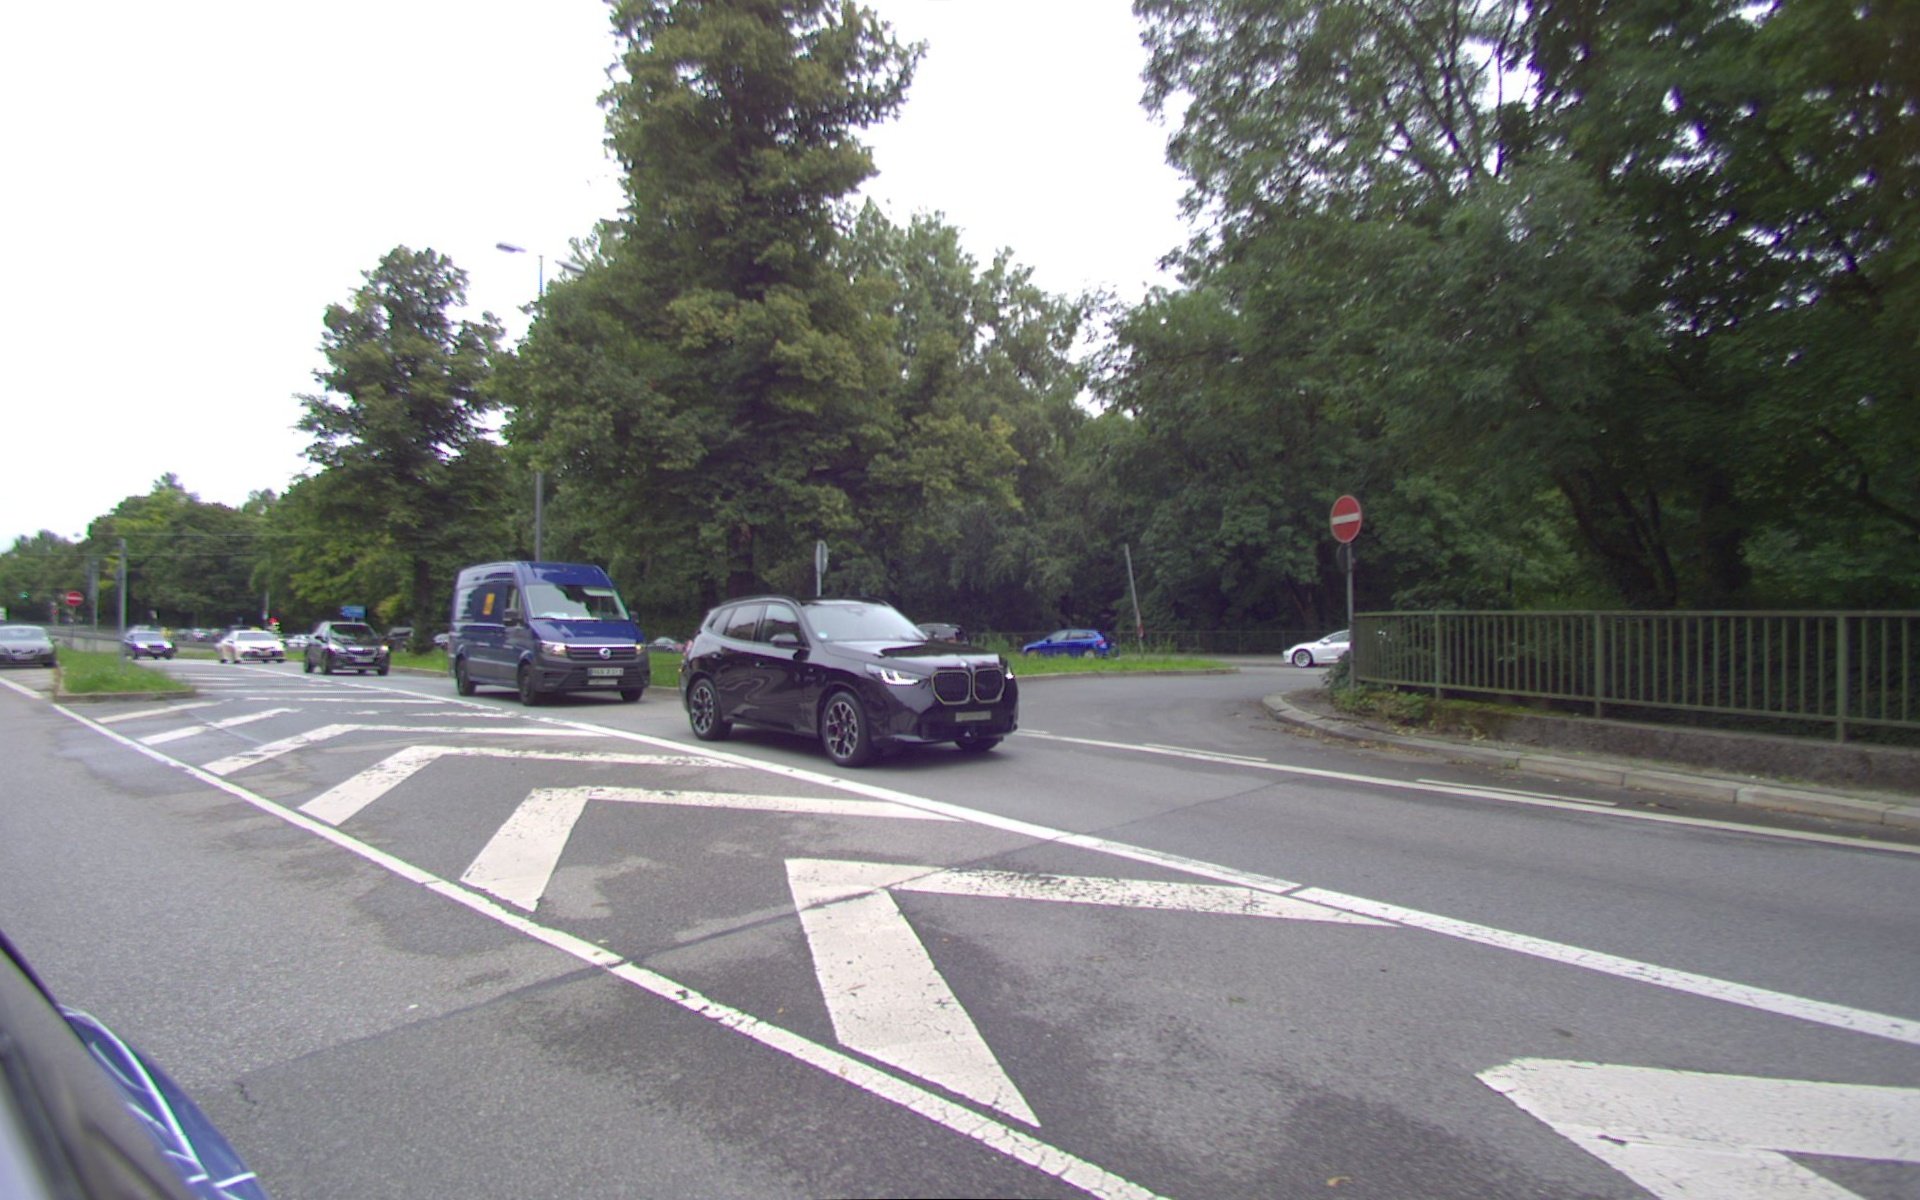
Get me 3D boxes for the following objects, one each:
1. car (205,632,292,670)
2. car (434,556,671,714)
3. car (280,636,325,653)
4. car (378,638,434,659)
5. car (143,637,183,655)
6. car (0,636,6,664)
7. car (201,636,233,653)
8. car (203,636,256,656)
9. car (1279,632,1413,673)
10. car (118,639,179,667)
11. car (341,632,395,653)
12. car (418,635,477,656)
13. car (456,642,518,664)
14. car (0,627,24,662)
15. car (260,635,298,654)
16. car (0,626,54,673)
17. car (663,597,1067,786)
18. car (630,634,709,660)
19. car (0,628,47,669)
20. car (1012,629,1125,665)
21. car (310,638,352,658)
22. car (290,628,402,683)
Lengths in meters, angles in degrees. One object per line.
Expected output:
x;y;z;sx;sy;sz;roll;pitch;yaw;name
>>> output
-31.192;2.197;44.319;4.650;1.577;1.967;-2;-3;40;car
-7.736;0.609;18.784;2.157;2.482;5.858;2;-2;-42;car
-59.059;4.010;90.899;4.310;1.457;1.975;-2;-4;37;car
-42.044;3.647;76.756;4.698;1.546;1.975;-2;-4;37;car
-67.999;3.927;86.289;4.030;1.457;1.872;-2;-3;40;car
-53.152;2.682;54.494;4.276;1.467;1.968;-2;-3;38;car
-77.719;4.655;105.847;3.997;1.759;1.842;-2;-2;40;car
-53.117;3.334;73.596;4.226;1.457;1.812;-2;-4;35;car
14.248;1.922;37.411;4.406;1.457;1.980;-1;-3;30;car
-47.673;3.063;59.430;4.268;1.577;1.967;-2;-3;39;car
-42.925;3.110;73.385;4.024;1.457;1.875;-2;-3;35;car
-36.947;3.287;72.915;4.517;1.457;1.975;-2;-4;37;car
-32.494;3.613;69.517;4.517;1.457;1.975;-2;-4;37;car
-44.972;2.052;46.996;4.284;1.577;1.965;-2;-3;44;car
-63.898;4.150;94.920;3.997;1.759;1.973;-2;-2;40;car
-33.554;1.743;35.916;1.876;1.577;4.774;2;-3;-44;car
-1.276;0.846;11.021;1.890;1.598;4.836;1;-2;-42;car
-16.422;2.653;57.108;4.517;1.457;1.975;-2;-4;37;car
-37.752;1.906;40.279;1.964;1.577;4.286;2;-3;-44;car
4.632;2.019;43.381;4.406;1.457;1.980;-1;-3;30;car
-54.342;4.111;87.399;3.996;1.569;1.887;-1;-2;40;car
-19.572;1.720;32.201;4.273;1.640;1.965;-2;-3;43;car
